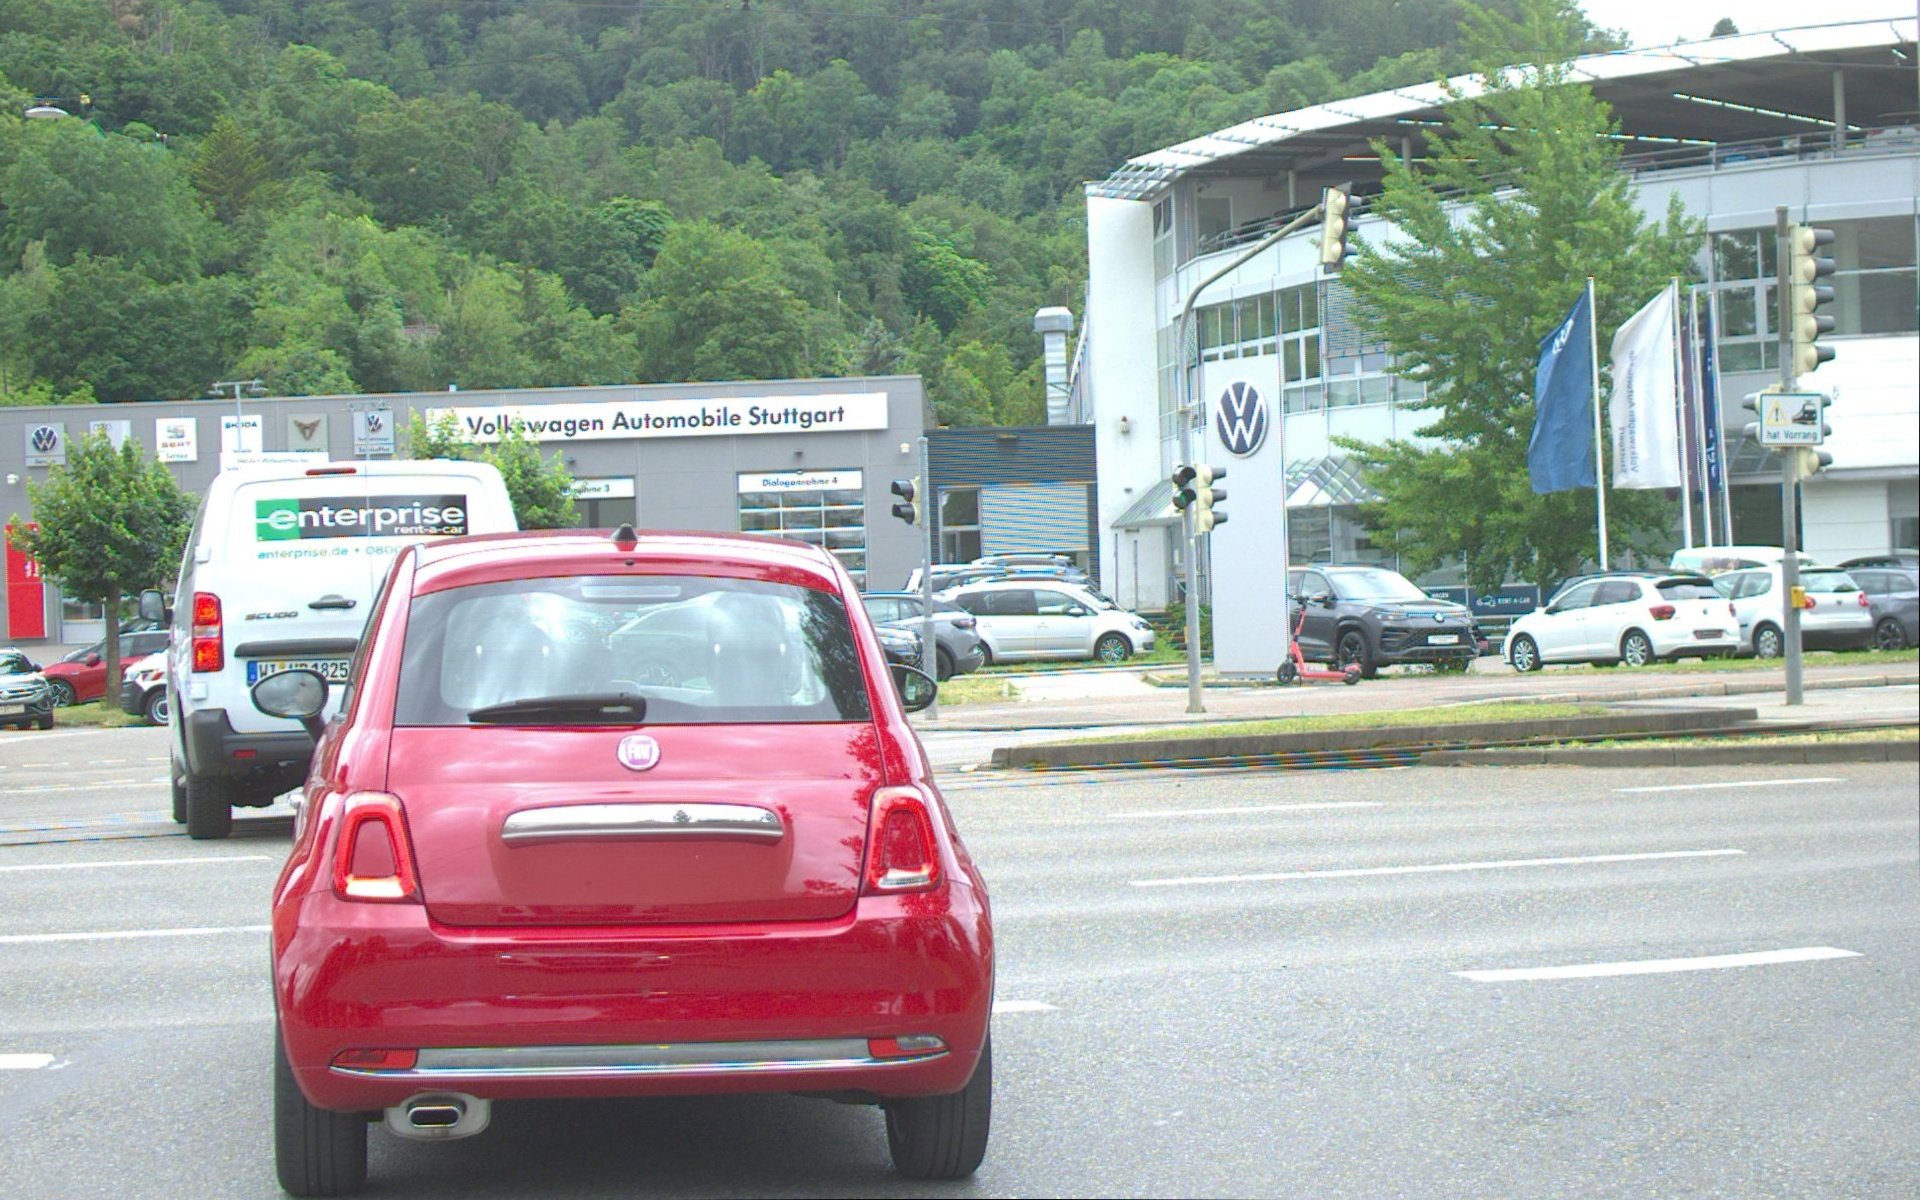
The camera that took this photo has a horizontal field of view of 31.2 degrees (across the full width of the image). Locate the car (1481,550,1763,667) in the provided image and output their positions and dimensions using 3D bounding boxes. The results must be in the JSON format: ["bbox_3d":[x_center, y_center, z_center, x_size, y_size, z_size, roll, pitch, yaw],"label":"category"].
[{"bbox_3d":[9.955,0.143,51.949,1.993,1.634,4.000,3,-2,-31],"label":"car"}]

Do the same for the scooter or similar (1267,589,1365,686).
[{"bbox_3d":[4.881,0.514,47.152,1.200,1.284,0.575,2,-2,-8],"label":"scooter or similar"}]

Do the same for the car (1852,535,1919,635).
[{"bbox_3d":[16.443,-0.226,54.995,1.921,1.549,4.000,3,-2,-31],"label":"car"}]

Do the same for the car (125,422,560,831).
[{"bbox_3d":[-3.677,0.232,19.758,1.998,2.034,4.832,1,-2,-15],"label":"car"}]

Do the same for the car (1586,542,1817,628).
[{"bbox_3d":[14.270,-0.270,66.283,1.921,1.549,3.999,3,-2,-39],"label":"car"}]

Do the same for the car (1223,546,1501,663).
[{"bbox_3d":[5.813,0.062,50.121,1.993,1.634,4.000,0,0,-31],"label":"car"}]

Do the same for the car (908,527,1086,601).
[{"bbox_3d":[0.949,-0.938,90.551,4.495,1.723,2.000,2,-1,-4],"label":"car"}]

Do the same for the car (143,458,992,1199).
[{"bbox_3d":[-1.017,0.494,9.121,1.697,1.520,4.001,2,0,-6],"label":"car"}]

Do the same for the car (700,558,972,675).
[{"bbox_3d":[-1.997,0.288,54.841,3.986,1.700,2.000,2,-1,-12],"label":"car"}]

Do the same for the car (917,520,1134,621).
[{"bbox_3d":[1.387,-0.619,74.554,4.495,1.990,2.000,2,-1,-4],"label":"car"}]

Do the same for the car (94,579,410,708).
[{"bbox_3d":[-12.269,0.769,59.809,5.001,2.007,2.000,-2,-2,1],"label":"car"}]

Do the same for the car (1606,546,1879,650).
[{"bbox_3d":[11.976,-0.016,52.858,1.808,1.472,4.000,3,-2,-31],"label":"car"}]

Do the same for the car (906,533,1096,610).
[{"bbox_3d":[1.001,-0.694,85.367,4.495,1.723,2.000,2,-1,-4],"label":"car"}]

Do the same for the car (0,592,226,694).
[{"bbox_3d":[-17.951,0.925,72.599,4.495,1.990,2.000,2,-1,-4],"label":"car"}]

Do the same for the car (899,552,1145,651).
[{"bbox_3d":[1.157,0.048,65.961,4.495,1.723,2.000,2,-1,-4],"label":"car"}]

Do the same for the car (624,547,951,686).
[{"bbox_3d":[-2.271,0.194,45.889,3.989,1.634,1.999,1,3,10],"label":"car"}]

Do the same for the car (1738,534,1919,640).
[{"bbox_3d":[14.312,-0.179,53.785,1.921,1.549,4.000,3,-2,-31],"label":"car"}]

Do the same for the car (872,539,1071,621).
[{"bbox_3d":[0.248,-0.456,80.969,4.495,1.723,2.000,2,-1,-4],"label":"car"}]
